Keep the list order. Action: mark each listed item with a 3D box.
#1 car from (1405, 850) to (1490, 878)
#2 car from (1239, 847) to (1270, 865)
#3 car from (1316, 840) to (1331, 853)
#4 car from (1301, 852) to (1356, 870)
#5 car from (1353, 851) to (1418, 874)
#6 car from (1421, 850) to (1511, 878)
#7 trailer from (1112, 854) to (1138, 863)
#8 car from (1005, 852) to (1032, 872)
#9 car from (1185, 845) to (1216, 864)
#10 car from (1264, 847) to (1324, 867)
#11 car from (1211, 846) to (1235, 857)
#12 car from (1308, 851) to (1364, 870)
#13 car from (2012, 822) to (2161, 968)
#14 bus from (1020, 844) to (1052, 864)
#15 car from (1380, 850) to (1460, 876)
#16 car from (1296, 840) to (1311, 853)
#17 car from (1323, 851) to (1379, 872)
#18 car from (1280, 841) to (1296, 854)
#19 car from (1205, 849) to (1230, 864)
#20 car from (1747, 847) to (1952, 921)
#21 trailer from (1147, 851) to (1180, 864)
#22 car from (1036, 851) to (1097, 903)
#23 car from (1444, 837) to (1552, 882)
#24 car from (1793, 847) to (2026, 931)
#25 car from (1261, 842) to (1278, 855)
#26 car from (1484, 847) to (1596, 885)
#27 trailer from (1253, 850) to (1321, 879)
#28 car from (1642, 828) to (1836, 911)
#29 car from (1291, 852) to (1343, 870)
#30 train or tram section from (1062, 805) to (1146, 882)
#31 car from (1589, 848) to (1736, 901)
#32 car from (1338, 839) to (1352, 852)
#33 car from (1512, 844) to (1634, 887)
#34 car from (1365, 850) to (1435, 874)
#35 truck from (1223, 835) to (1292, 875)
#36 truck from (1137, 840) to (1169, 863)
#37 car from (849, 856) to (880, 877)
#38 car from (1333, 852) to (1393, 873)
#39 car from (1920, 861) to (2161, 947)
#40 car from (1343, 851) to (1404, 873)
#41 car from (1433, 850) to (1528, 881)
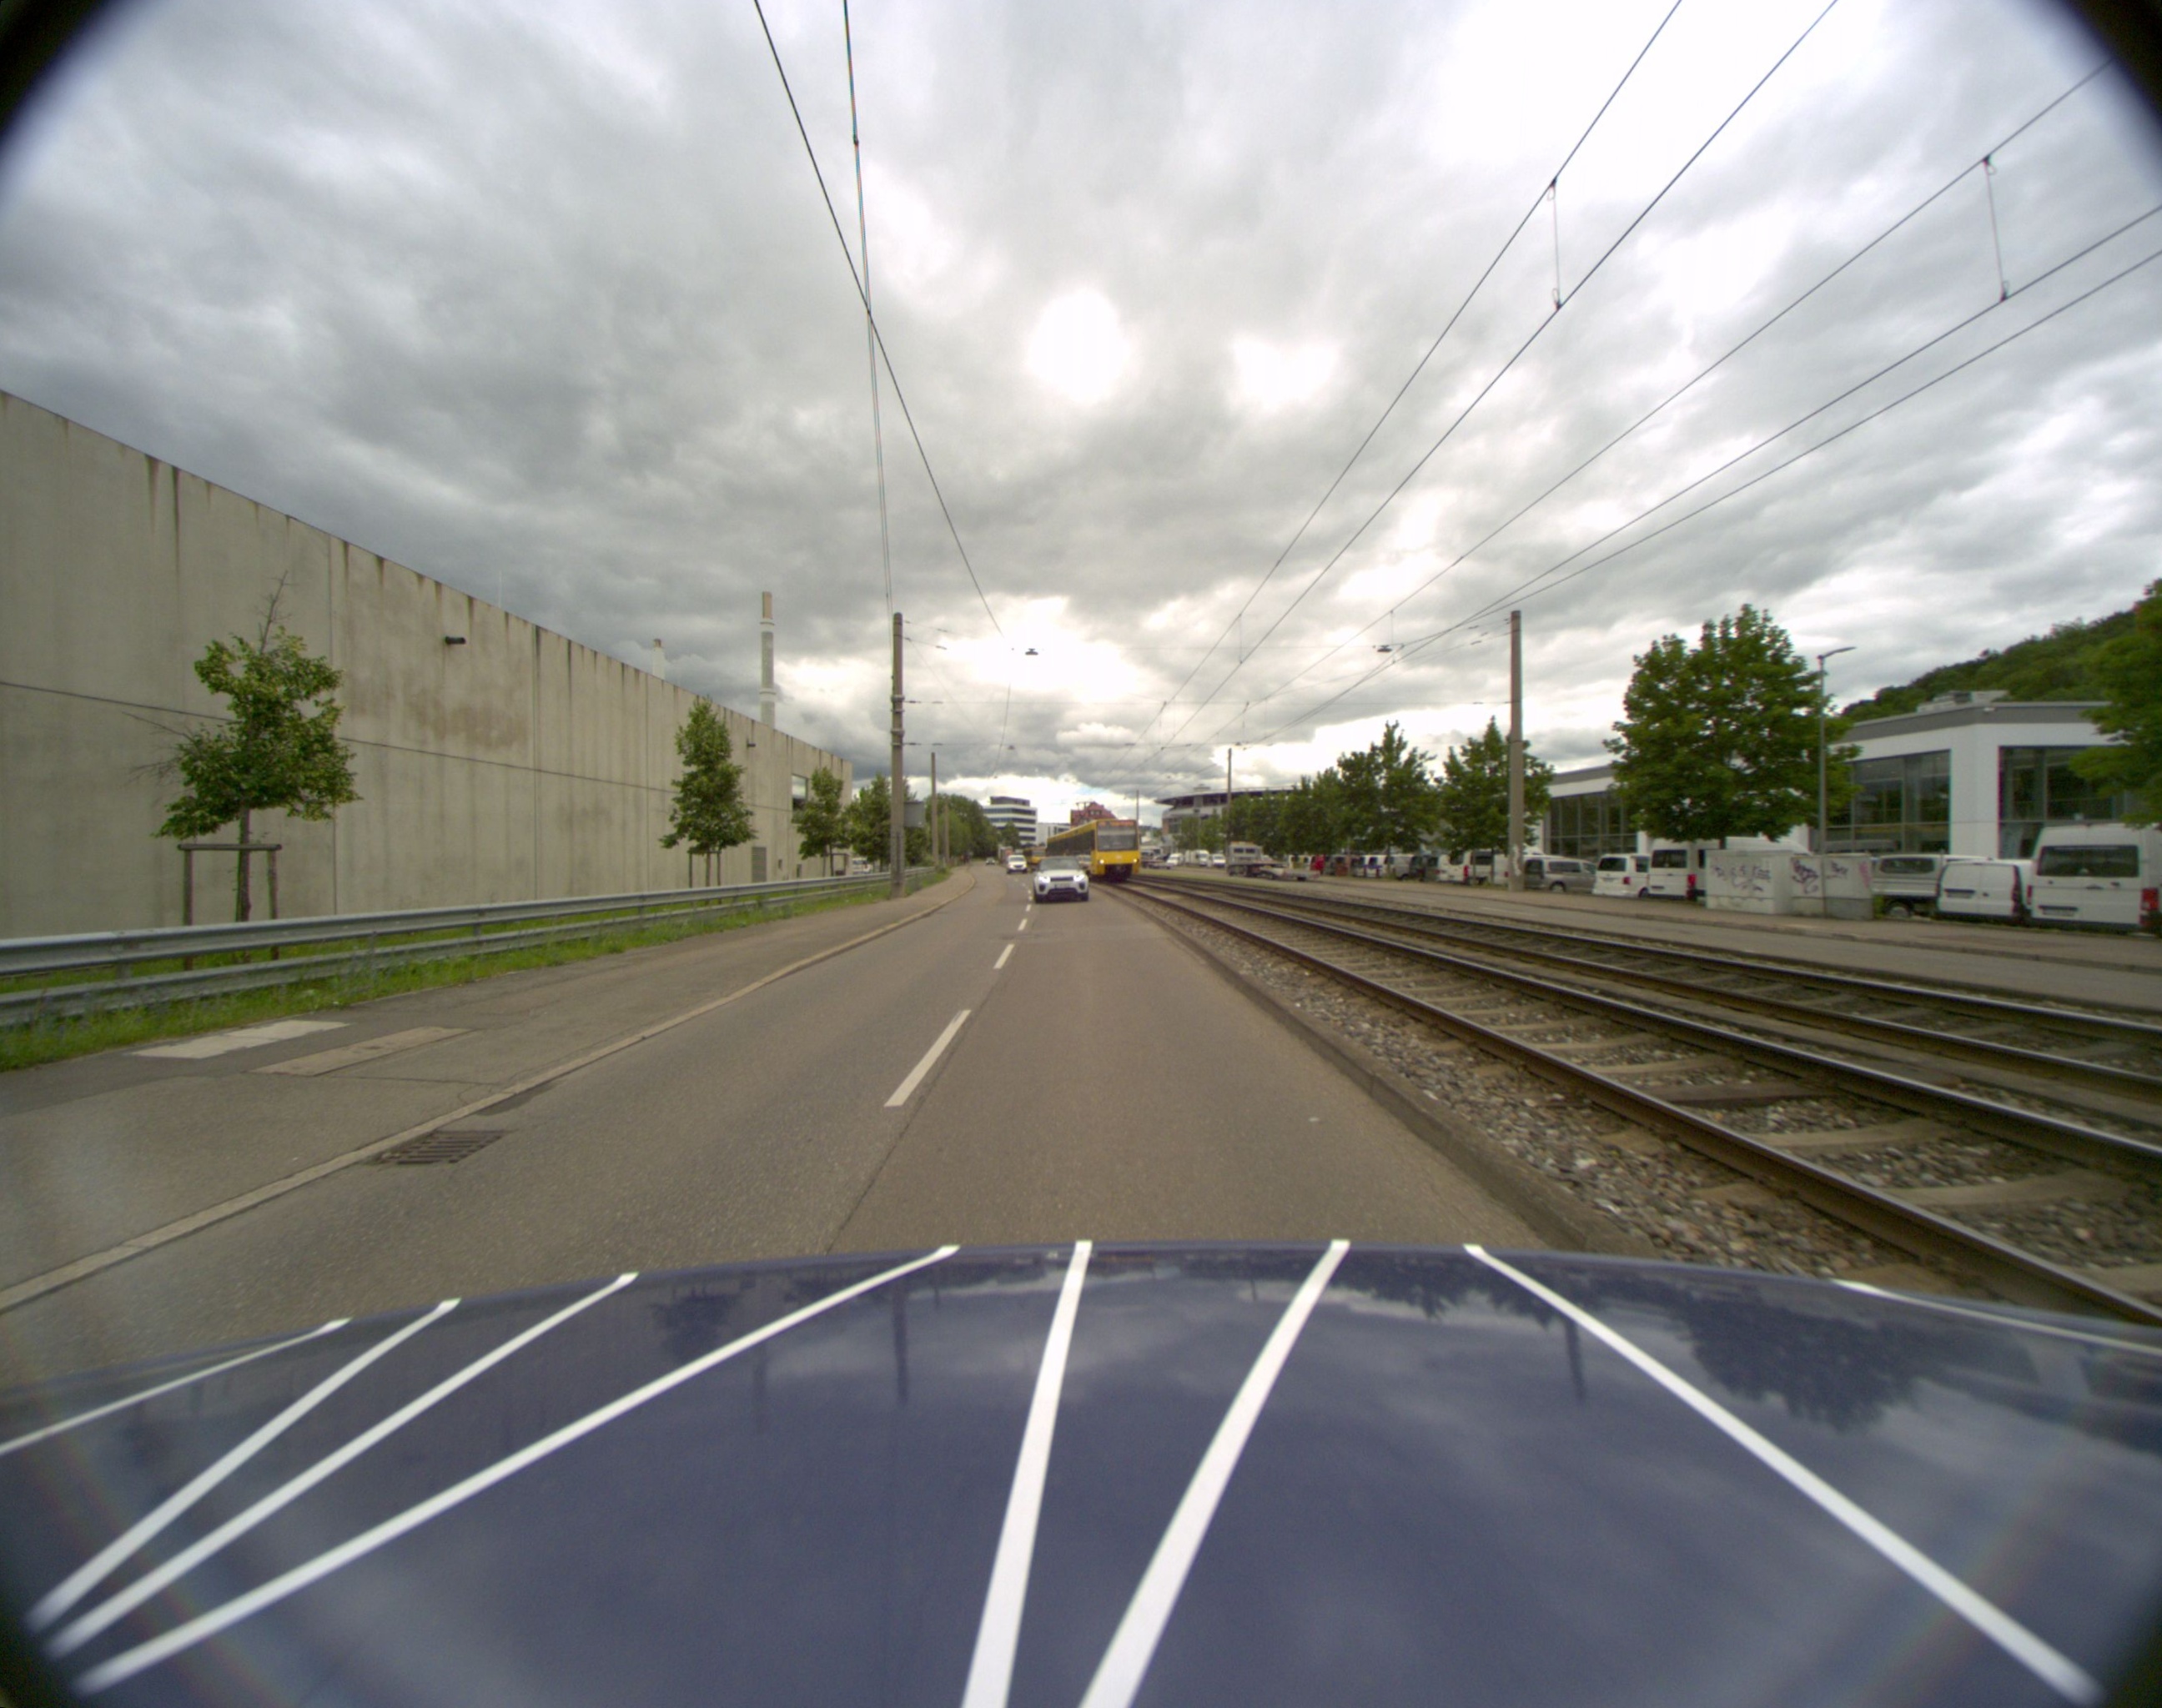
[{"bbox_3d":[23.087,0.614,47.977,4.376,1.676,2.004,0,0,2],"label":"car"},{"bbox_3d":[19.495,0.202,85.591,1.999,2.002,4.858,0,1,-5],"label":"car"},{"bbox_3d":[37.241,-1.115,116.420,1.995,2.002,4.006,0,1,21],"label":"car"},{"bbox_3d":[22.342,0.599,68.758,4.355,1.608,2.120,0,0,2],"label":"car"},{"bbox_3d":[22.290,0.619,55.770,3.996,1.608,2.000,0,0,2],"label":"car"},{"bbox_3d":[22.970,0.610,45.411,4.376,1.608,2.004,0,0,2],"label":"car"},{"bbox_3d":[7.144,0.722,125.623,3.059,1.270,7.001,2,0,-7],"label":"trailer"},{"bbox_3d":[-6.183,0.803,75.073,2.001,1.881,4.621,0,0,-13],"label":"car"},{"bbox_3d":[17.064,0.047,108.642,2.001,2.546,5.854,-1,0,-17],"label":"car"},{"bbox_3d":[21.675,0.276,77.250,5.702,1.996,2.147,0,1,18],"label":"car"},{"bbox_3d":[24.797,-0.452,132.290,4.008,2.002,1.994,0,0,-39],"label":"car"},{"bbox_3d":[21.979,0.556,65.693,4.188,1.608,2.063,0,0,2],"label":"car"},{"bbox_3d":[22.541,0.773,15.687,4.378,2.803,2.003,0,1,-3],"label":"car"},{"bbox_3d":[-9.149,-0.071,152.808,3.564,3.931,10.473,-2,2,-20],"label":"bus"},{"bbox_3d":[22.361,0.573,50.219,4.376,1.608,2.004,0,0,1],"label":"car"},{"bbox_3d":[35.019,-1.173,119.419,1.995,2.002,4.006,0,1,21],"label":"car"},{"bbox_3d":[22.295,0.592,62.889,3.996,1.655,2.048,0,0,2],"label":"car"},{"bbox_3d":[32.520,-1.072,119.377,1.995,2.002,4.006,0,1,21],"label":"car"},{"bbox_3d":[18.327,0.328,102.368,2.000,2.002,4.805,-1,0,-6],"label":"car"},{"bbox_3d":[23.418,0.871,23.275,4.378,2.160,2.003,0,0,-3],"label":"car"},{"bbox_3d":[10.622,0.458,98.036,2.766,1.486,7.221,2,0,-5],"label":"trailer"},{"bbox_3d":[-0.599,0.786,27.957,1.999,1.718,3.998,-2,0,-4],"label":"car"},{"bbox_3d":[21.998,0.299,40.223,4.507,2.298,2.125,0,0,2],"label":"car"},{"bbox_3d":[22.621,0.901,20.873,4.378,2.160,2.003,0,0,-3],"label":"car"},{"bbox_3d":[29.579,-0.808,119.169,1.995,2.002,4.006,0,0,21],"label":"car"},{"bbox_3d":[22.834,0.572,37.930,4.376,1.834,2.004,0,0,2],"label":"car"},{"bbox_3d":[13.426,0.608,50.114,2.389,1.688,6.946,2,0,-2],"label":"trailer"},{"bbox_3d":[22.525,0.499,26.133,4.980,2.683,2.114,0,1,-3],"label":"car"},{"bbox_3d":[22.284,0.631,71.817,4.346,1.608,2.154,0,0,2],"label":"car"},{"bbox_3d":[0.998,-0.661,48.506,3.398,3.984,16.934,-2,1,-5],"label":"train or tram section"},{"bbox_3d":[22.952,0.779,30.100,4.378,1.999,2.003,0,0,-3],"label":"car"},{"bbox_3d":[40.457,-1.247,116.344,1.995,2.002,4.006,0,1,21],"label":"car"},{"bbox_3d":[22.935,0.519,35.547,4.376,1.936,2.004,0,0,2],"label":"car"},{"bbox_3d":[22.051,0.530,52.665,3.996,1.608,2.000,0,0,2],"label":"car"},{"bbox_3d":[13.264,0.042,58.122,2.764,2.725,9.216,2,0,-2],"label":"truck"},{"bbox_3d":[9.987,-0.338,105.897,2.872,2.964,8.450,2,0,-5],"label":"truck"},{"bbox_3d":[-17.488,1.005,61.524,1.755,1.565,4.427,-2,0,-7],"label":"car"},{"bbox_3d":[22.272,0.679,60.134,3.996,1.608,2.000,0,0,2],"label":"car"},{"bbox_3d":[23.376,1.133,18.260,4.378,1.899,2.003,0,0,-3],"label":"car"},{"bbox_3d":[22.337,0.619,58.142,3.996,1.608,2.000,0,0,2],"label":"car"},{"bbox_3d":[22.656,0.626,43.217,4.378,1.679,2.031,0,0,-3],"label":"car"}]
